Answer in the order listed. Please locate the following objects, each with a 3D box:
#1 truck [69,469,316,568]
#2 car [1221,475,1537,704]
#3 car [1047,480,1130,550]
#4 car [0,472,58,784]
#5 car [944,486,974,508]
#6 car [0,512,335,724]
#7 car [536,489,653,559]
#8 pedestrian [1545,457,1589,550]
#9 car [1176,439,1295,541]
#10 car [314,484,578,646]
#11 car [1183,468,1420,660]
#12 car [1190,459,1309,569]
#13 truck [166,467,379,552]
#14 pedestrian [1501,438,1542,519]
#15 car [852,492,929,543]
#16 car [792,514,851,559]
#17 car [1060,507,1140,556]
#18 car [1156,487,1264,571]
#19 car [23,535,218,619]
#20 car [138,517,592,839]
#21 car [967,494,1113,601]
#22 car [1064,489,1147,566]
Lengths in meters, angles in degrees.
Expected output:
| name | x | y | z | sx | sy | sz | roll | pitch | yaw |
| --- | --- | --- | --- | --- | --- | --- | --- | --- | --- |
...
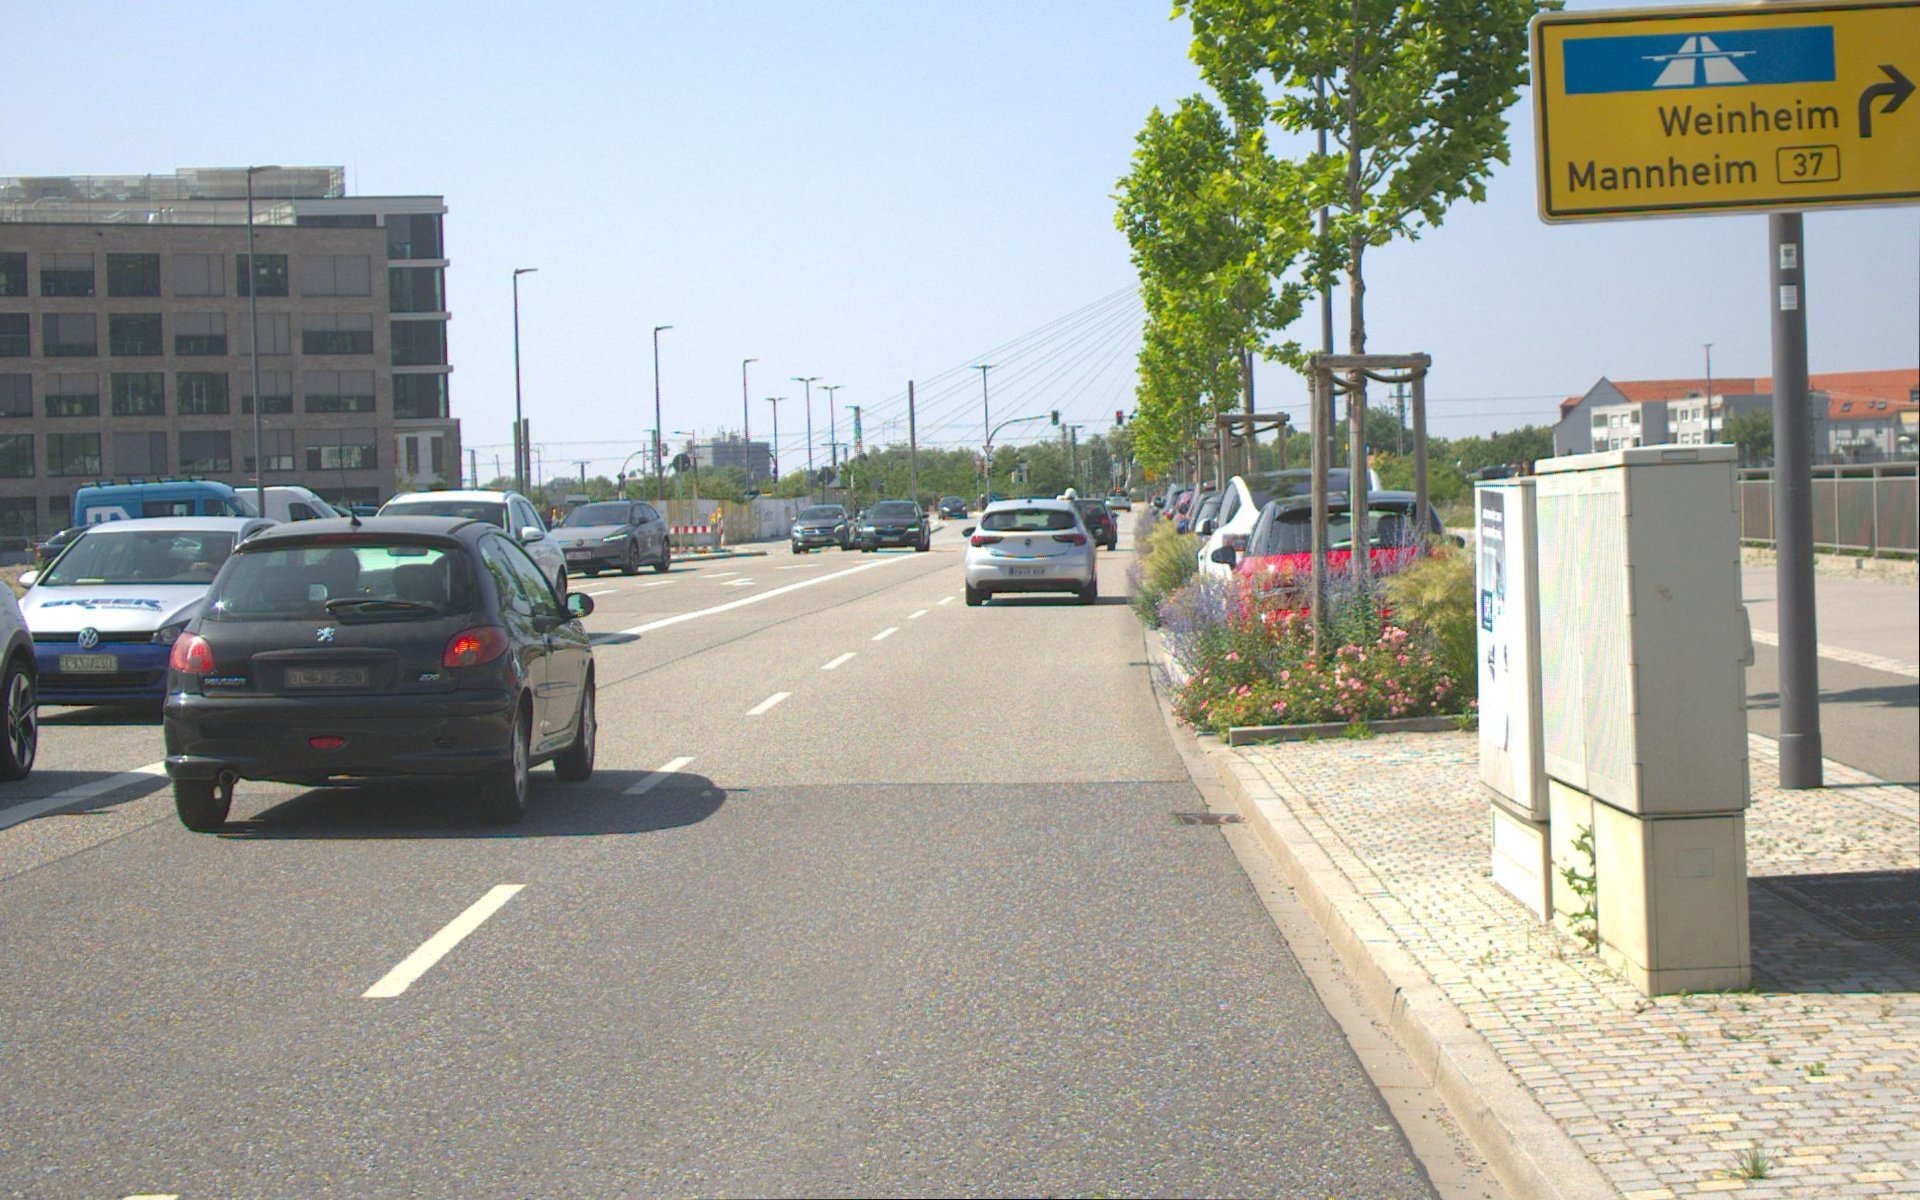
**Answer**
| name | x | y | z | sx | sy | sz | roll | pitch | yaw |
| --- | --- | --- | --- | --- | --- | --- | --- | --- | --- |
| truck | -20.307 | -2.147 | 91.152 | 6.004 | 2.534 | 2.275 | -1 | 1 | 0 |
| car | 2.971 | -0.140 | 25.127 | 1.994 | 1.513 | 4.000 | -1 | 2 | 3 |
| car | 3.038 | -1.961 | 80.438 | 1.778 | 1.563 | 3.999 | 0 | 0 | 5 |
| car | -6.067 | 0.191 | 17.582 | 1.778 | 1.676 | 4.099 | 0 | 2 | 0 |
| car | -0.033 | -6.814 | 228.152 | 1.704 | 1.347 | 4.456 | -2 | 1 | 3 |
| car | -6.066 | 0.075 | 25.696 | 1.786 | 1.416 | 4.282 | -1 | 2 | 3 |
| car | -7.570 | -1.560 | 71.525 | 1.894 | 1.410 | 3.598 | 0 | 0 | 3 |
| pedestrian | 11.280 | -1.787 | 63.866 | 0.732 | 1.699 | 0.651 | 0 | 0 | 4 |
| car | 4.689 | -1.902 | 58.784 | 1.909 | 1.611 | 4.548 | -2 | 2 | 4 |
| car | -5.474 | -0.423 | 37.231 | 1.913 | 1.644 | 4.730 | 0 | 2 | 3 |
| car | 3.077 | -0.348 | 31.826 | 1.872 | 1.621 | 4.876 | -1 | 1 | 2 |
| car | 4.186 | -1.285 | 50.123 | 1.620 | 1.474 | 3.824 | -2 | 2 | 4 |
| truck | -19.585 | -2.572 | 98.117 | 5.567 | 2.354 | 2.275 | -1 | 1 | 2 |
| pedestrian | 11.965 | -2.590 | 73.235 | 0.781 | 1.699 | 0.742 | -1 | 1 | 4 |
| car | -1.973 | -2.404 | 99.232 | 1.787 | 1.393 | 4.571 | -1 | 2 | 4 |
| car | -4.418 | -2.017 | 110.327 | 1.793 | 1.411 | 4.000 | 0 | 0 | -1 |
| car | 3.800 | -1.870 | 93.899 | 1.632 | 1.305 | 4.001 | -1 | 1 | -6 |
| car | 4.760 | -1.378 | 65.901 | 1.603 | 1.486 | 3.819 | -3 | 2 | -2 |
| car | -19.551 | -0.539 | 80.154 | 3.989 | 1.897 | 1.827 | 0 | 1 | 10 |
| car | -2.842 | 0.314 | 17.135 | 1.619 | 1.411 | 3.727 | -1 | 1 | 0 |
| car | 1.168 | -0.745 | 48.376 | 1.778 | 1.437 | 3.999 | -1 | 1 | 5 |
| car | 3.397 | -1.704 | 80.823 | 1.793 | 1.744 | 4.000 | -1 | 1 | 0 |
